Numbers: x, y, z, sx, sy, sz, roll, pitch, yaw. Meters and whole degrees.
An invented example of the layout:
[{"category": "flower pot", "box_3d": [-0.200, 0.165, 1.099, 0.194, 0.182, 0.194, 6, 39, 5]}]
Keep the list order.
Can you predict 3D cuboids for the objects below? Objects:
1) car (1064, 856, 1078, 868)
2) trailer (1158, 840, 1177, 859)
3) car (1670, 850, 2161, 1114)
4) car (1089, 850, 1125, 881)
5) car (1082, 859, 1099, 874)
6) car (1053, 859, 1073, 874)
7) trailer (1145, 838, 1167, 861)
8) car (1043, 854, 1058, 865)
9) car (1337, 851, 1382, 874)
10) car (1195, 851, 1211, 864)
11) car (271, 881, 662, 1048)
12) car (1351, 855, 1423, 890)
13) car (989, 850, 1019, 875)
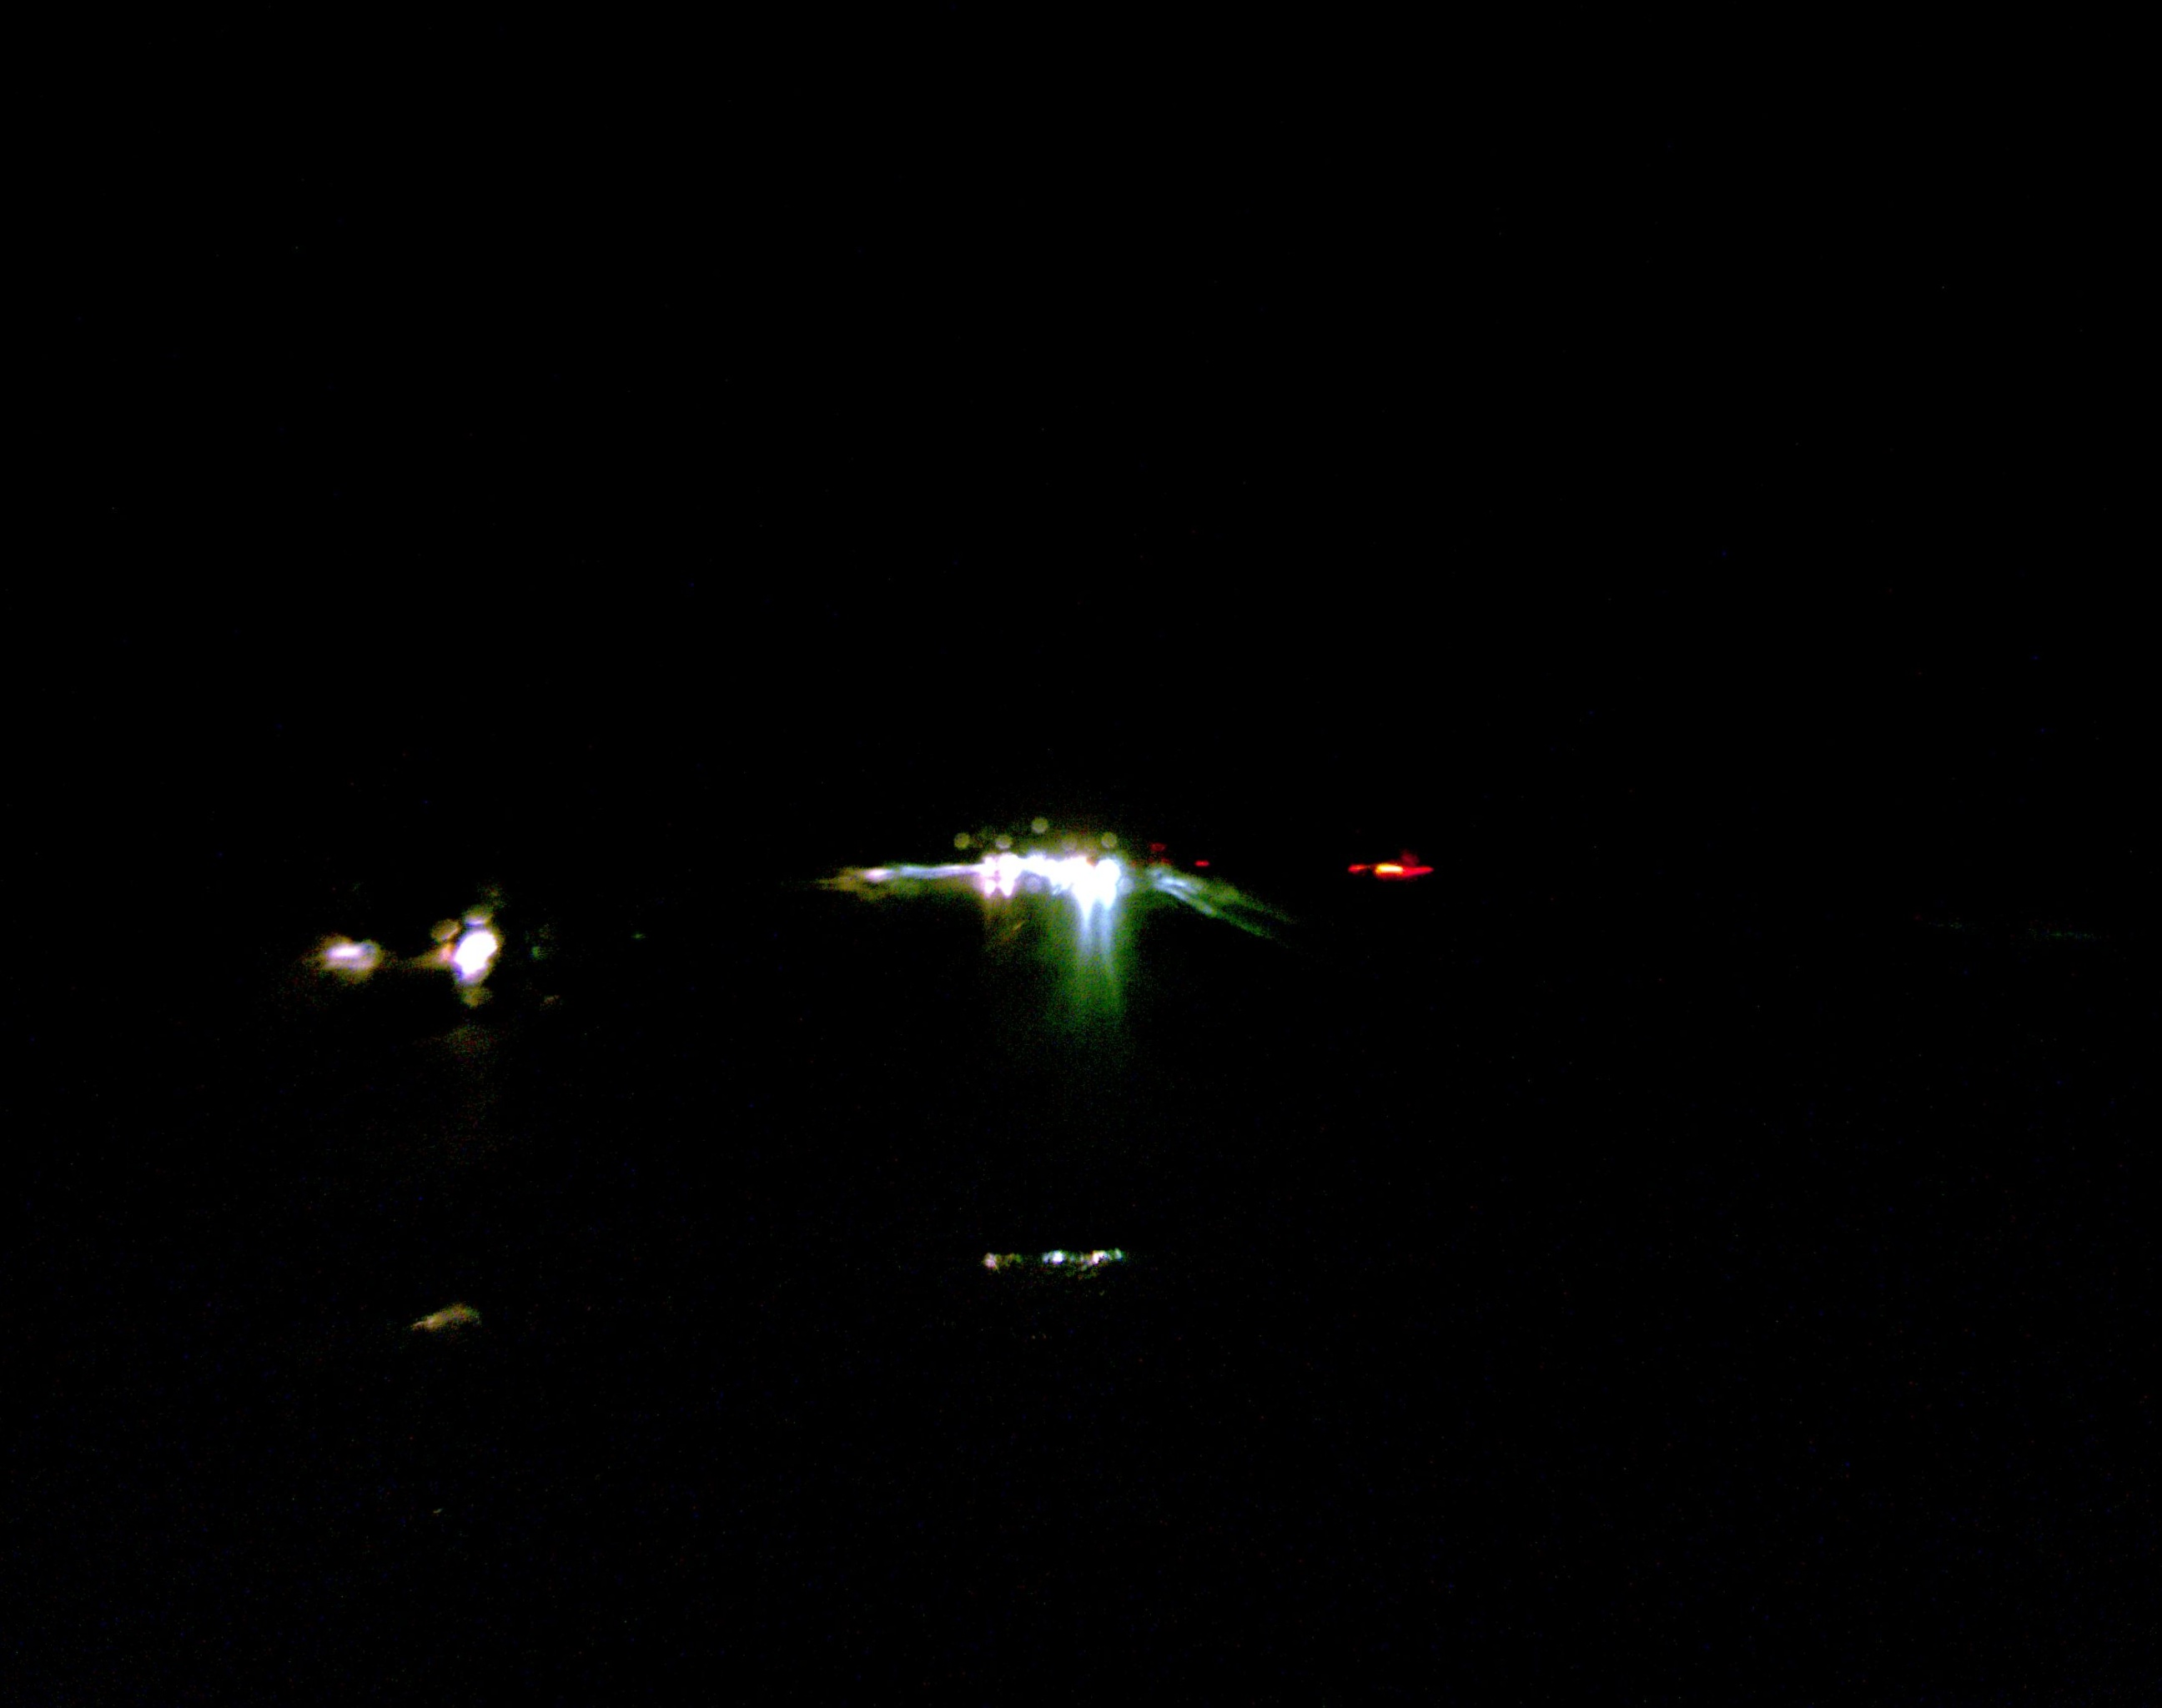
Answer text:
[{"category": "car", "box_3d": [-1.559, 1.282, 120.816, 1.883, 1.654, 4.001, -3, -1, 3]}, {"category": "trailer", "box_3d": [20.773, -0.969, 183.210, 2.697, 4.196, 15.644, -2, 0, 1]}, {"category": "car", "box_3d": [8.920, 0.978, 8.030, 1.998, 2.002, 4.451, -1, 0, 1]}, {"category": "car", "box_3d": [1.615, 0.668, 45.360, 1.882, 1.654, 4.002, -3, -1, 4]}, {"category": "car", "box_3d": [1.225, 1.548, 95.147, 1.883, 1.654, 4.002, -3, -1, 4]}, {"category": "car", "box_3d": [-2.046, 1.416, 86.866, 1.882, 1.654, 4.002, -3, -1, 4]}, {"category": "trailer", "box_3d": [15.300, -0.849, 155.669, 2.697, 4.352, 14.629, -2, 0, -1]}, {"category": "car", "box_3d": [-4.938, 0.922, 122.968, 1.882, 1.654, 4.002, -3, -1, 4]}, {"category": "car", "box_3d": [21.252, 0.600, 58.163, 1.998, 1.704, 4.246, 0, 0, 1]}, {"category": "car", "box_3d": [19.089, 0.537, 119.025, 1.998, 2.002, 4.391, 0, 1, 1]}, {"category": "car", "box_3d": [-7.253, 1.176, 9.616, 1.644, 1.494, 4.013, -1, 0, 0]}, {"category": "car", "box_3d": [16.085, 0.913, 40.181, 1.998, 1.749, 4.591, 0, 0, 1]}, {"category": "car", "box_3d": [-6.253, 0.713, 62.327, 1.832, 1.835, 4.699, -3, -1, 1]}]
